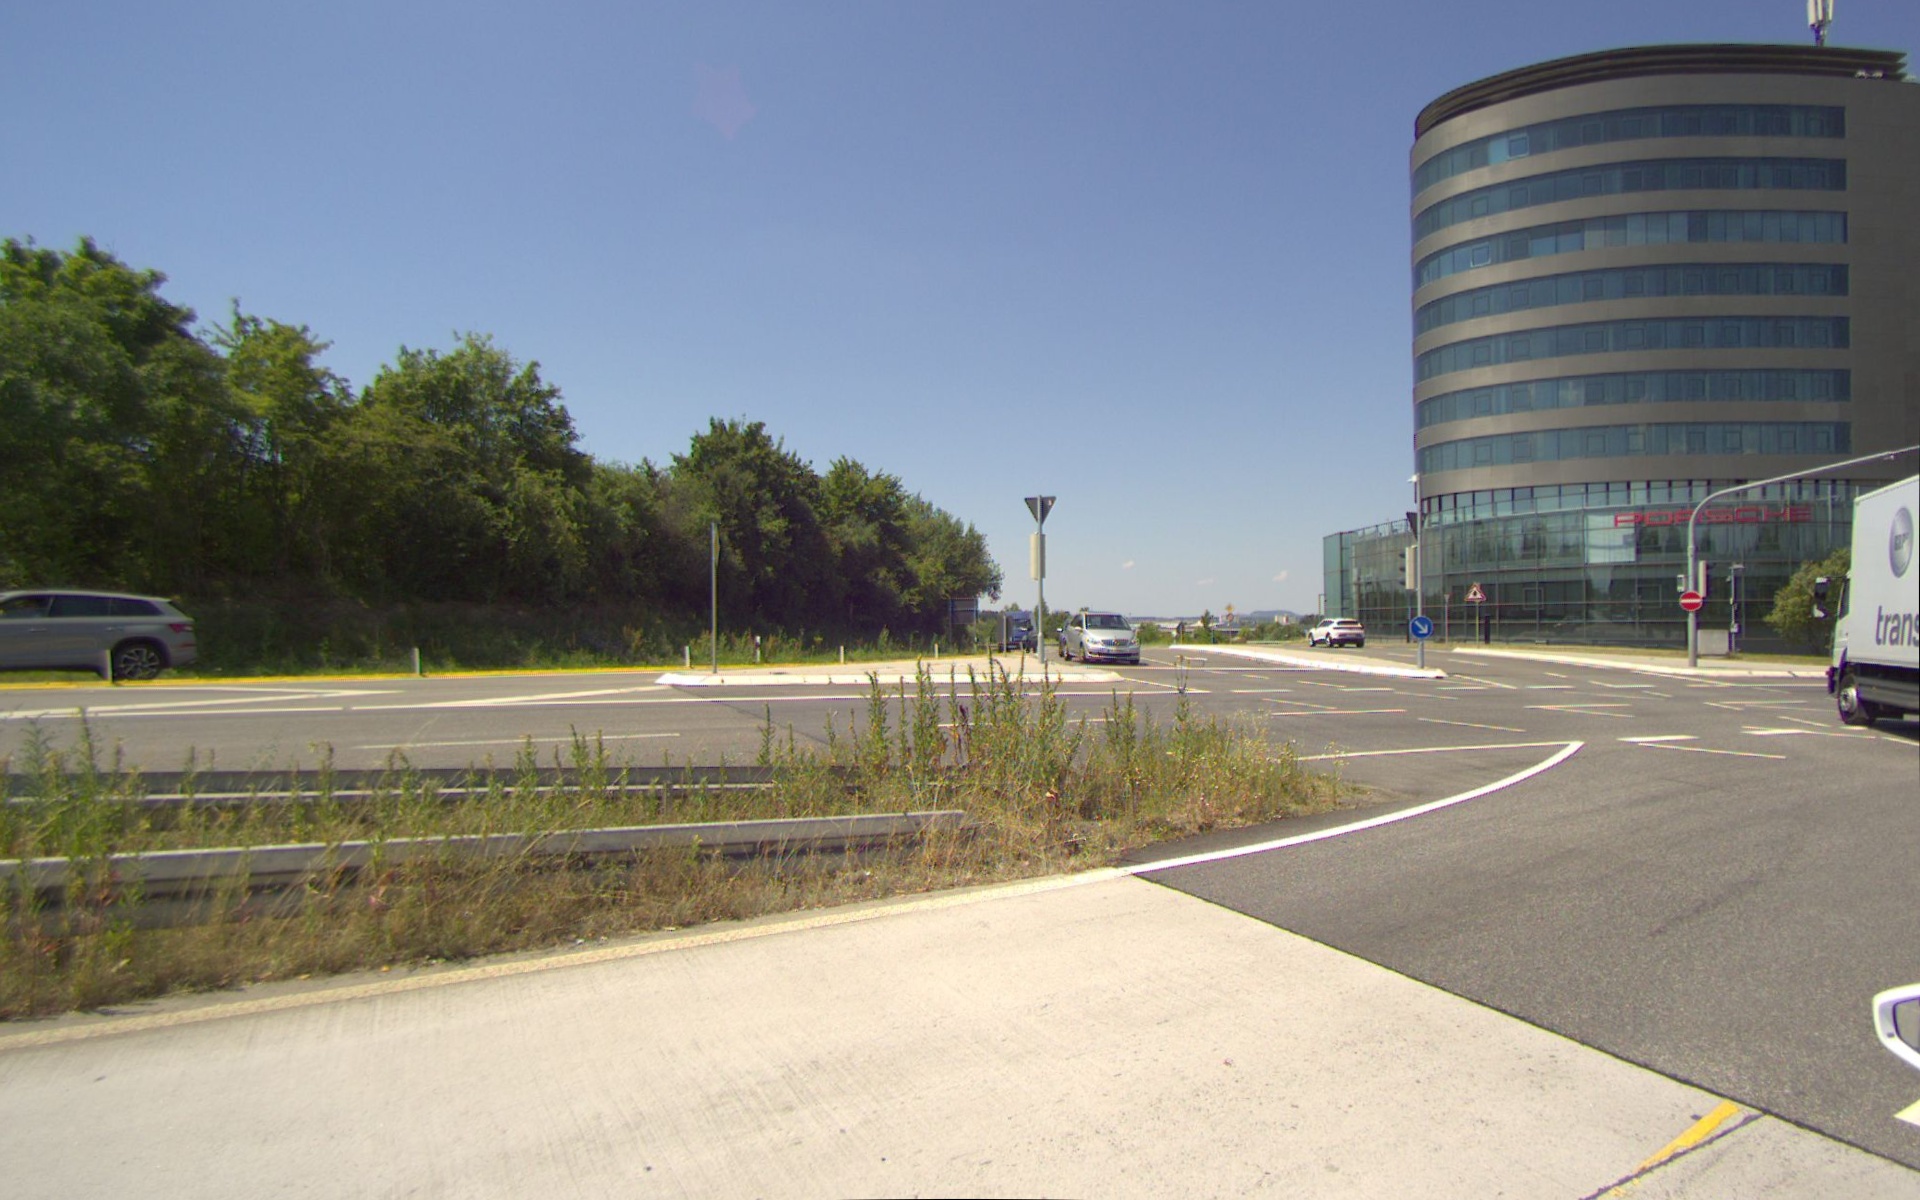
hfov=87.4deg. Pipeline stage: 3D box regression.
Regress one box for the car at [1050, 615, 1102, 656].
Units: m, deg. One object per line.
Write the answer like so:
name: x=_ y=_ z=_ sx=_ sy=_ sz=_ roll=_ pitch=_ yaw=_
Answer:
car: x=4.504 y=1.422 z=39.611 sx=1.663 sy=1.475 sz=4.332 roll=2 pitch=-3 yaw=2

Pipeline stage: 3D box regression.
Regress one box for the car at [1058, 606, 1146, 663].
car: x=4.365 y=1.098 z=31.495 sx=1.743 sy=1.616 sz=4.327 roll=2 pitch=-3 yaw=-6

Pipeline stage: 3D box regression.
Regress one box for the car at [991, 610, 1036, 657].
car: x=3.417 y=2.041 z=62.838 sx=2.024 sy=2.740 sz=5.900 roll=2 pitch=-1 yaw=10

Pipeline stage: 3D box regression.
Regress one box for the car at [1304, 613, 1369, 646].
car: x=19.667 y=1.512 z=52.609 sx=1.773 sy=1.577 sz=3.999 roll=2 pitch=-1 yaw=-2

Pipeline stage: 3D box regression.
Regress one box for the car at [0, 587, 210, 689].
car: x=-16.483 y=0.646 z=17.913 sx=1.969 sy=1.715 sz=4.638 roll=1 pitch=-1 yaw=38

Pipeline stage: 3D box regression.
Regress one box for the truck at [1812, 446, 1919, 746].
truck: x=14.128 y=-0.027 z=13.195 sx=2.729 sy=3.911 sz=9.354 roll=1 pitch=-1 yaw=30
